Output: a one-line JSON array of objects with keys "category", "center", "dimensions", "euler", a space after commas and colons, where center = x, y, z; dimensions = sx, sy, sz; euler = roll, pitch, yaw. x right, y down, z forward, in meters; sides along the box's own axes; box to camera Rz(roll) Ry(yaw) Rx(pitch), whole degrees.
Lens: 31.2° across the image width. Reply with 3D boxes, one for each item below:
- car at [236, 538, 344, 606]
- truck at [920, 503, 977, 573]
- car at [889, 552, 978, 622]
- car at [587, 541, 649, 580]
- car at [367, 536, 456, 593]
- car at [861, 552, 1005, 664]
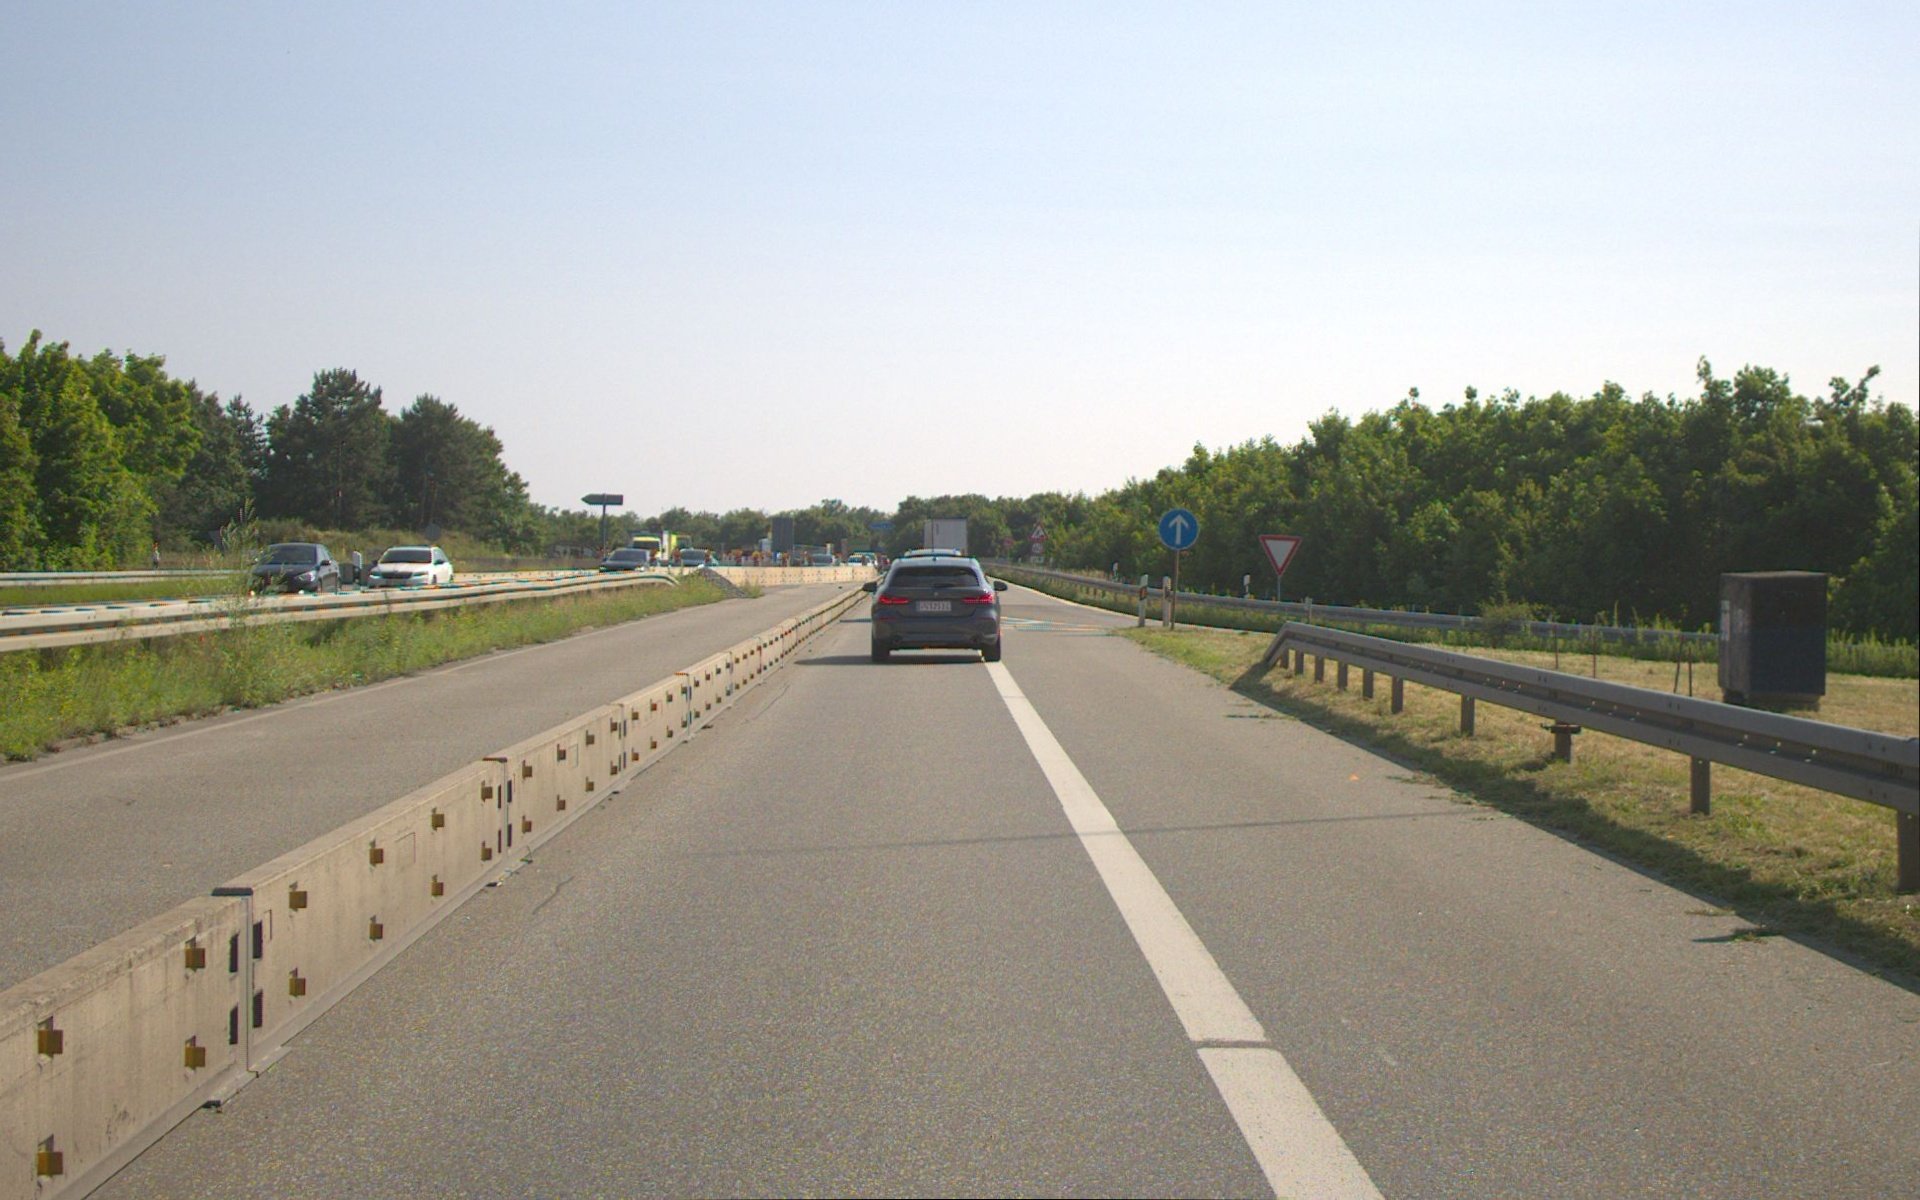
[{"category": "car", "center": [-15.436, -0.664, 79.352], "dimensions": [1.738, 1.489, 4.110], "euler": [1, 1, -1]}, {"category": "truck", "center": [-0.865, -4.479, 248.950], "dimensions": [3.761, 4.894, 14.138], "euler": [1, 1, -1]}, {"category": "car", "center": [-0.586, -0.317, 78.660], "dimensions": [1.993, 1.561, 4.000], "euler": [0, 1, 0]}, {"category": "car", "center": [-13.508, -1.556, 135.894], "dimensions": [1.816, 1.483, 5.023], "euler": [-1, 1, 1]}, {"category": "car", "center": [-15.135, -0.992, 95.001], "dimensions": [1.760, 1.465, 4.795], "euler": [2, 1, -1]}, {"category": "car", "center": [-0.417, 0.079, 48.205], "dimensions": [1.920, 1.488, 4.000], "euler": [0, 1, -2]}]
